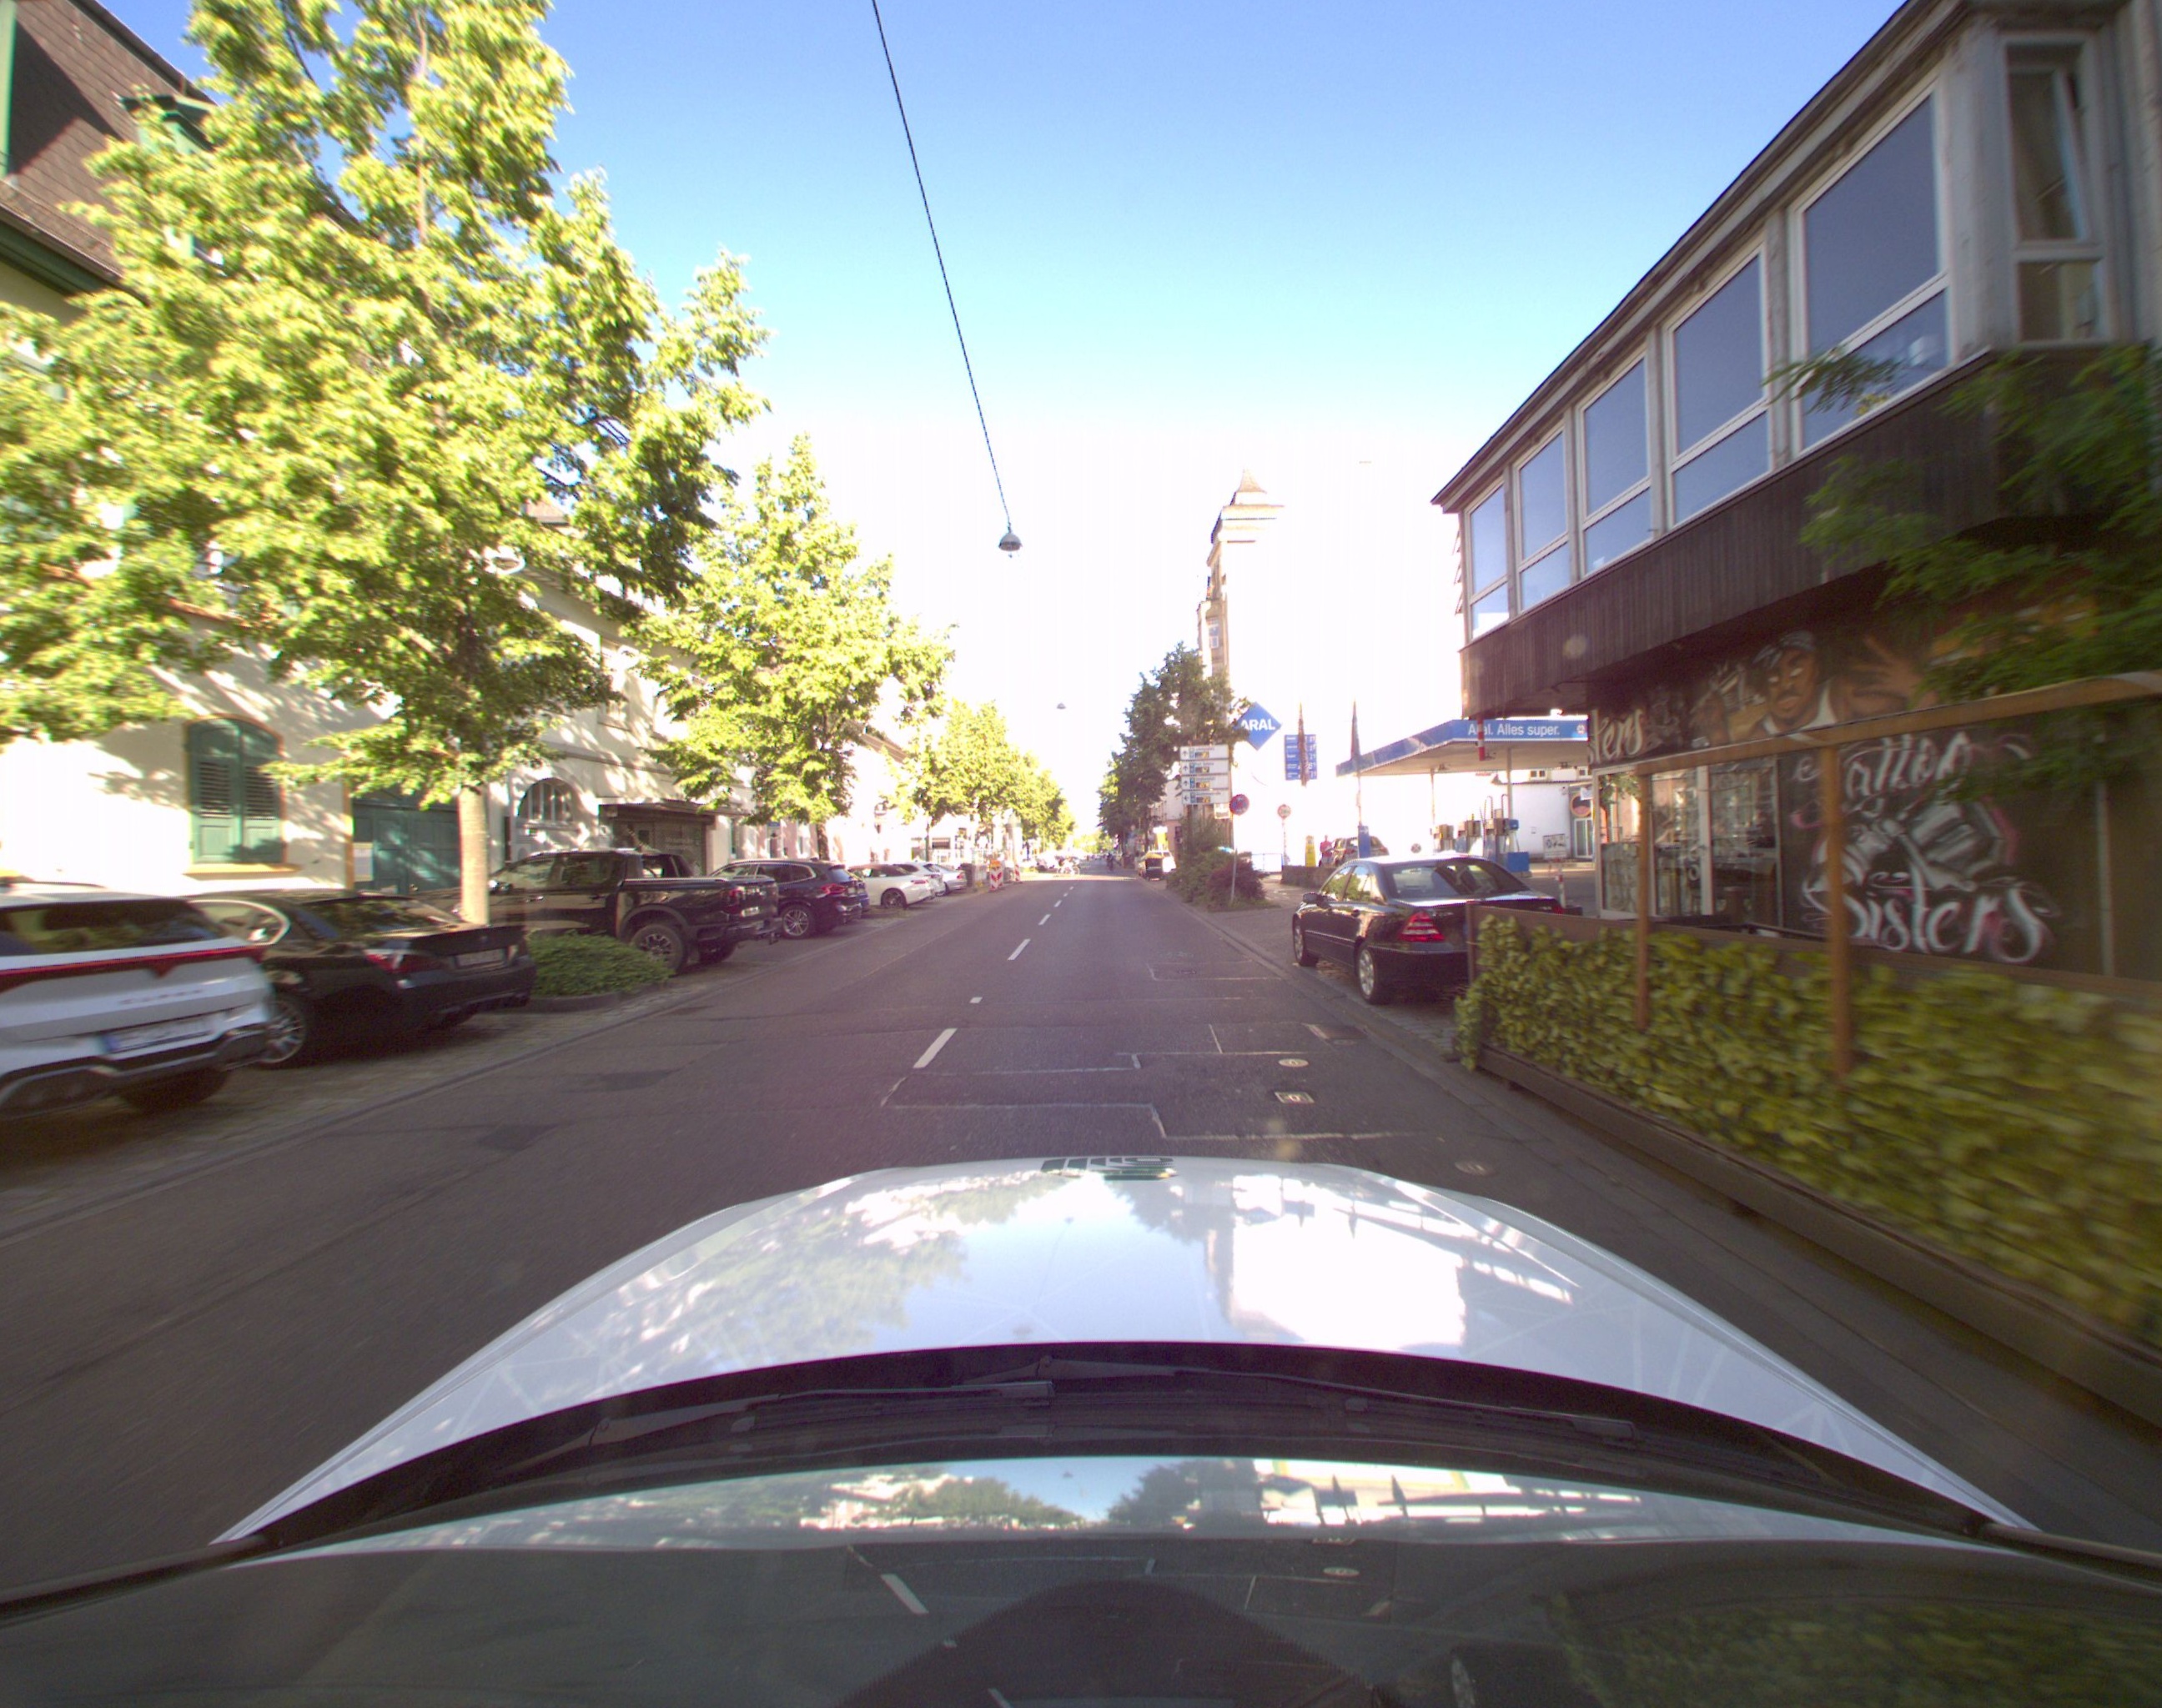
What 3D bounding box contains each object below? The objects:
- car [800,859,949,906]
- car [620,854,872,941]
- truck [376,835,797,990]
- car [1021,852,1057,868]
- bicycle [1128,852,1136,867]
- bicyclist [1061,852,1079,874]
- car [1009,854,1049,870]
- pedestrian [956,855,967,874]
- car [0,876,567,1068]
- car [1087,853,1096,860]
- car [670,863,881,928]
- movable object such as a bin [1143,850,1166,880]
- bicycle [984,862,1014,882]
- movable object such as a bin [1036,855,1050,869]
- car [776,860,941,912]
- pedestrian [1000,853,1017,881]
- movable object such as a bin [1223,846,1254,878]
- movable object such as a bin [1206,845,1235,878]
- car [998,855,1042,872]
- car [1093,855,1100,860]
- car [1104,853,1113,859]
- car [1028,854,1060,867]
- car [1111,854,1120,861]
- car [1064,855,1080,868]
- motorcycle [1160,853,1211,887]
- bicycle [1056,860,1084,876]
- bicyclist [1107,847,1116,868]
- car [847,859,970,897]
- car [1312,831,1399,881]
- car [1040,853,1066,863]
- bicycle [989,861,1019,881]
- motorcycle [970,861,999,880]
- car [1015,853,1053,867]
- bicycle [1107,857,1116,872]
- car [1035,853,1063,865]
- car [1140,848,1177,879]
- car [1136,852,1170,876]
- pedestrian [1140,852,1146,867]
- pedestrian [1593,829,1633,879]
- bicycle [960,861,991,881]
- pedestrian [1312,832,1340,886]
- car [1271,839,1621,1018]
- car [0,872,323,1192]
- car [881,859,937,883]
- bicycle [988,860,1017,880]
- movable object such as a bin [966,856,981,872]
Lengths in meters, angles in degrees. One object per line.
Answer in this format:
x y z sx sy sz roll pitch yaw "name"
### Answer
-7.083 0.947 28.251 4.668 1.465 1.807 -1 0 -2 "car"
-7.124 0.902 17.634 4.662 1.693 1.809 -1 0 2 "car"
-7.242 0.815 12.358 5.068 1.938 2.000 -2 0 0 "truck"
-4.938 0.721 96.133 3.967 1.694 2.003 -2 0 5 "car"
5.076 0.569 81.231 0.559 1.441 1.628 -8 0 1 "bicycle"
-0.801 0.641 59.244 1.046 1.560 0.760 -2 0 -38 "bicyclist"
-5.279 0.804 83.220 3.974 1.390 2.000 -2 0 0 "car"
-10.165 0.900 69.398 0.768 1.643 0.690 -2 0 3 "pedestrian"
-7.690 1.010 7.577 4.662 1.463 1.809 -1 0 2 "car"
2.287 0.553 182.065 1.816 1.391 4.301 -4 0 0 "car"
-7.722 1.034 20.857 4.662 1.463 1.809 -1 0 2 "car"
4.074 0.593 45.068 1.136 1.562 1.463 -3 0 9 "movable object such as a bin"
-5.106 1.099 50.596 1.852 1.170 0.599 -1 0 -7 "bicycle"
-4.191 0.882 89.886 1.330 1.478 1.480 -2 0 1 "movable object such as a bin"
-6.927 0.963 25.687 4.668 1.465 1.807 -1 0 -2 "car"
-4.636 0.816 51.942 0.797 1.707 0.759 -1 0 -32 "pedestrian"
7.939 0.396 41.087 1.267 1.530 1.176 -3 0 -1 "movable object such as a bin"
7.266 0.372 42.463 1.202 1.627 1.498 -3 0 -1 "movable object such as a bin"
-5.742 0.883 77.437 3.974 1.390 2.000 -2 0 0 "car"
4.186 0.898 221.372 1.786 1.411 4.001 -2 0 1 "car"
6.847 0.551 201.974 1.987 1.508 4.000 -1 -1 1 "car"
-4.778 0.768 104.950 3.974 1.500 2.000 -2 0 0 "car"
7.687 0.707 182.269 1.987 1.508 4.000 -1 -1 1 "car"
-1.030 0.855 95.530 1.797 1.435 4.409 -4 0 0 "car"
4.447 0.664 34.725 1.978 1.330 0.908 -2 0 -11 "motorcycle"
-0.808 1.009 59.245 1.965 1.059 0.760 -2 0 -38 "bicycle"
2.560 0.274 68.536 0.716 1.693 1.157 -2 0 1 "bicyclist"
-7.045 0.976 33.658 4.668 1.412 1.807 -1 0 -2 "car"
10.061 0.066 30.197 1.893 1.648 4.296 -3 0 3 "car"
-4.480 0.604 129.676 3.974 1.500 2.000 -2 0 0 "car"
-4.861 1.060 51.267 1.852 1.252 0.599 -1 0 -7 "bicycle"
-6.425 1.080 54.336 1.853 1.229 0.754 -1 0 -11 "motorcycle"
-5.359 0.691 93.337 3.967 1.457 1.871 -2 0 5 "car"
2.574 0.880 68.531 0.716 1.220 2.036 -2 0 2 "bicycle"
-4.629 0.743 118.904 3.974 1.500 2.000 -2 0 0 "car"
4.652 0.529 49.380 1.815 1.679 4.602 -4 0 2 "car"
4.795 0.664 54.699 1.816 1.391 4.301 -4 0 0 "car"
6.950 0.609 91.473 0.545 1.649 0.665 -2 0 2 "pedestrian"
18.958 -0.015 29.039 0.815 1.742 0.818 -1 0 -12 "pedestrian"
-6.604 1.064 51.110 1.776 1.252 0.602 -1 0 12 "bicycle"
8.649 0.166 28.751 0.704 1.850 0.689 -3 0 1 "pedestrian"
3.652 0.631 9.263 1.894 1.412 4.647 -4 0 1 "car"
-7.720 0.962 4.905 4.662 1.572 1.809 -1 0 2 "car"
-13.628 1.341 64.479 4.001 1.610 1.986 -3 0 -20 "car"
-5.049 1.041 52.283 1.852 1.252 0.599 -1 0 -7 "bicycle"
-9.908 0.922 75.054 1.137 1.485 1.235 -2 0 -1 "movable object such as a bin"
